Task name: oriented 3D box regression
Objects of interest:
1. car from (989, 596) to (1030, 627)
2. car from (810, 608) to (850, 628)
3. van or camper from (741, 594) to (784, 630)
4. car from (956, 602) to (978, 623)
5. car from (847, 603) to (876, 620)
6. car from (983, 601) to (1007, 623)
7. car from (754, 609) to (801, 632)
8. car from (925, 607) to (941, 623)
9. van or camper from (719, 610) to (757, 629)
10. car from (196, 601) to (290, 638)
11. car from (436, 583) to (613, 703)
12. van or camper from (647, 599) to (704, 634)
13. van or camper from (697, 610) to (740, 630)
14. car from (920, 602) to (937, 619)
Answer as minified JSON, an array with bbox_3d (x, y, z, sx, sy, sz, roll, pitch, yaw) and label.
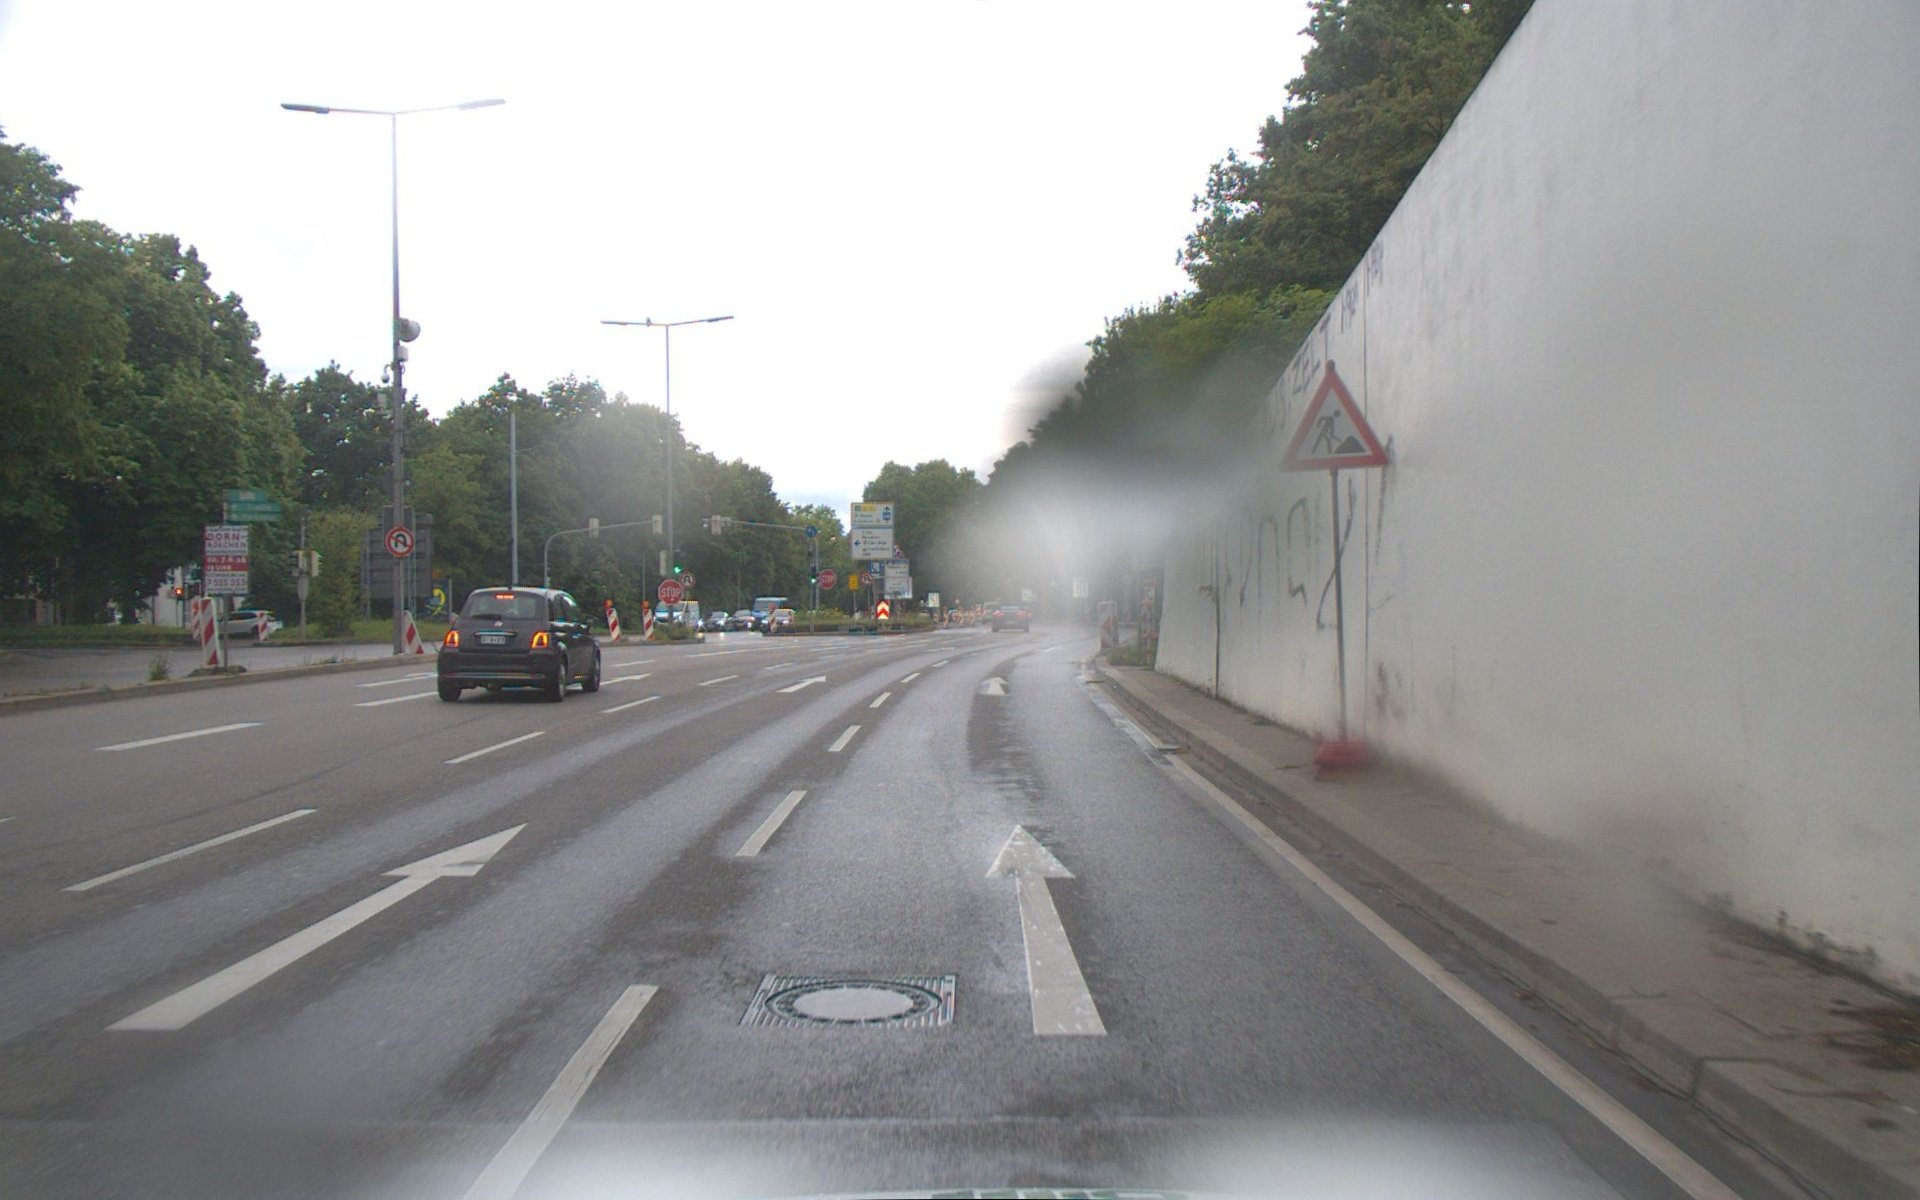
[{"bbox_3d":[2.465,0.578,82.613,1.952,1.473,4.315,-1,0,1],"label":"car"},{"bbox_3d":[-8.727,1.192,111.099,1.967,1.324,4.318,-1,0,5],"label":"car"},{"bbox_3d":[-13.652,0.819,114.550,2.083,2.390,4.429,-1,0,5],"label":"van or camper"},{"bbox_3d":[0.704,1.276,167.731,1.954,2.049,3.998,0,0,-3],"label":"car"},{"bbox_3d":[-7.929,0.919,133.524,1.967,1.324,4.316,-1,0,2],"label":"car"},{"bbox_3d":[3.318,1.093,156.511,1.954,2.049,3.998,0,0,-3],"label":"car"},{"bbox_3d":[-10.942,1.216,99.448,1.967,1.324,4.318,-1,0,5],"label":"car"},{"bbox_3d":[-3.567,1.923,215.401,1.954,2.049,3.998,0,0,-3],"label":"car"},{"bbox_3d":[-16.326,1.431,121.854,1.967,1.324,4.094,-1,0,5],"label":"van or camper"},{"bbox_3d":[-36.188,0.978,83.553,3.910,1.713,1.896,-1,1,-6],"label":"car"},{"bbox_3d":[-5.916,0.533,22.830,1.580,1.479,3.571,1,1,-2],"label":"car"},{"bbox_3d":[-17.125,0.990,99.883,2.083,2.049,5.317,-1,0,5],"label":"van or camper"},{"bbox_3d":[-16.189,1.353,111.117,1.967,1.324,4.094,-1,0,5],"label":"van or camper"},{"bbox_3d":[-3.802,1.276,200.542,1.954,2.049,3.998,0,0,-3],"label":"car"}]
